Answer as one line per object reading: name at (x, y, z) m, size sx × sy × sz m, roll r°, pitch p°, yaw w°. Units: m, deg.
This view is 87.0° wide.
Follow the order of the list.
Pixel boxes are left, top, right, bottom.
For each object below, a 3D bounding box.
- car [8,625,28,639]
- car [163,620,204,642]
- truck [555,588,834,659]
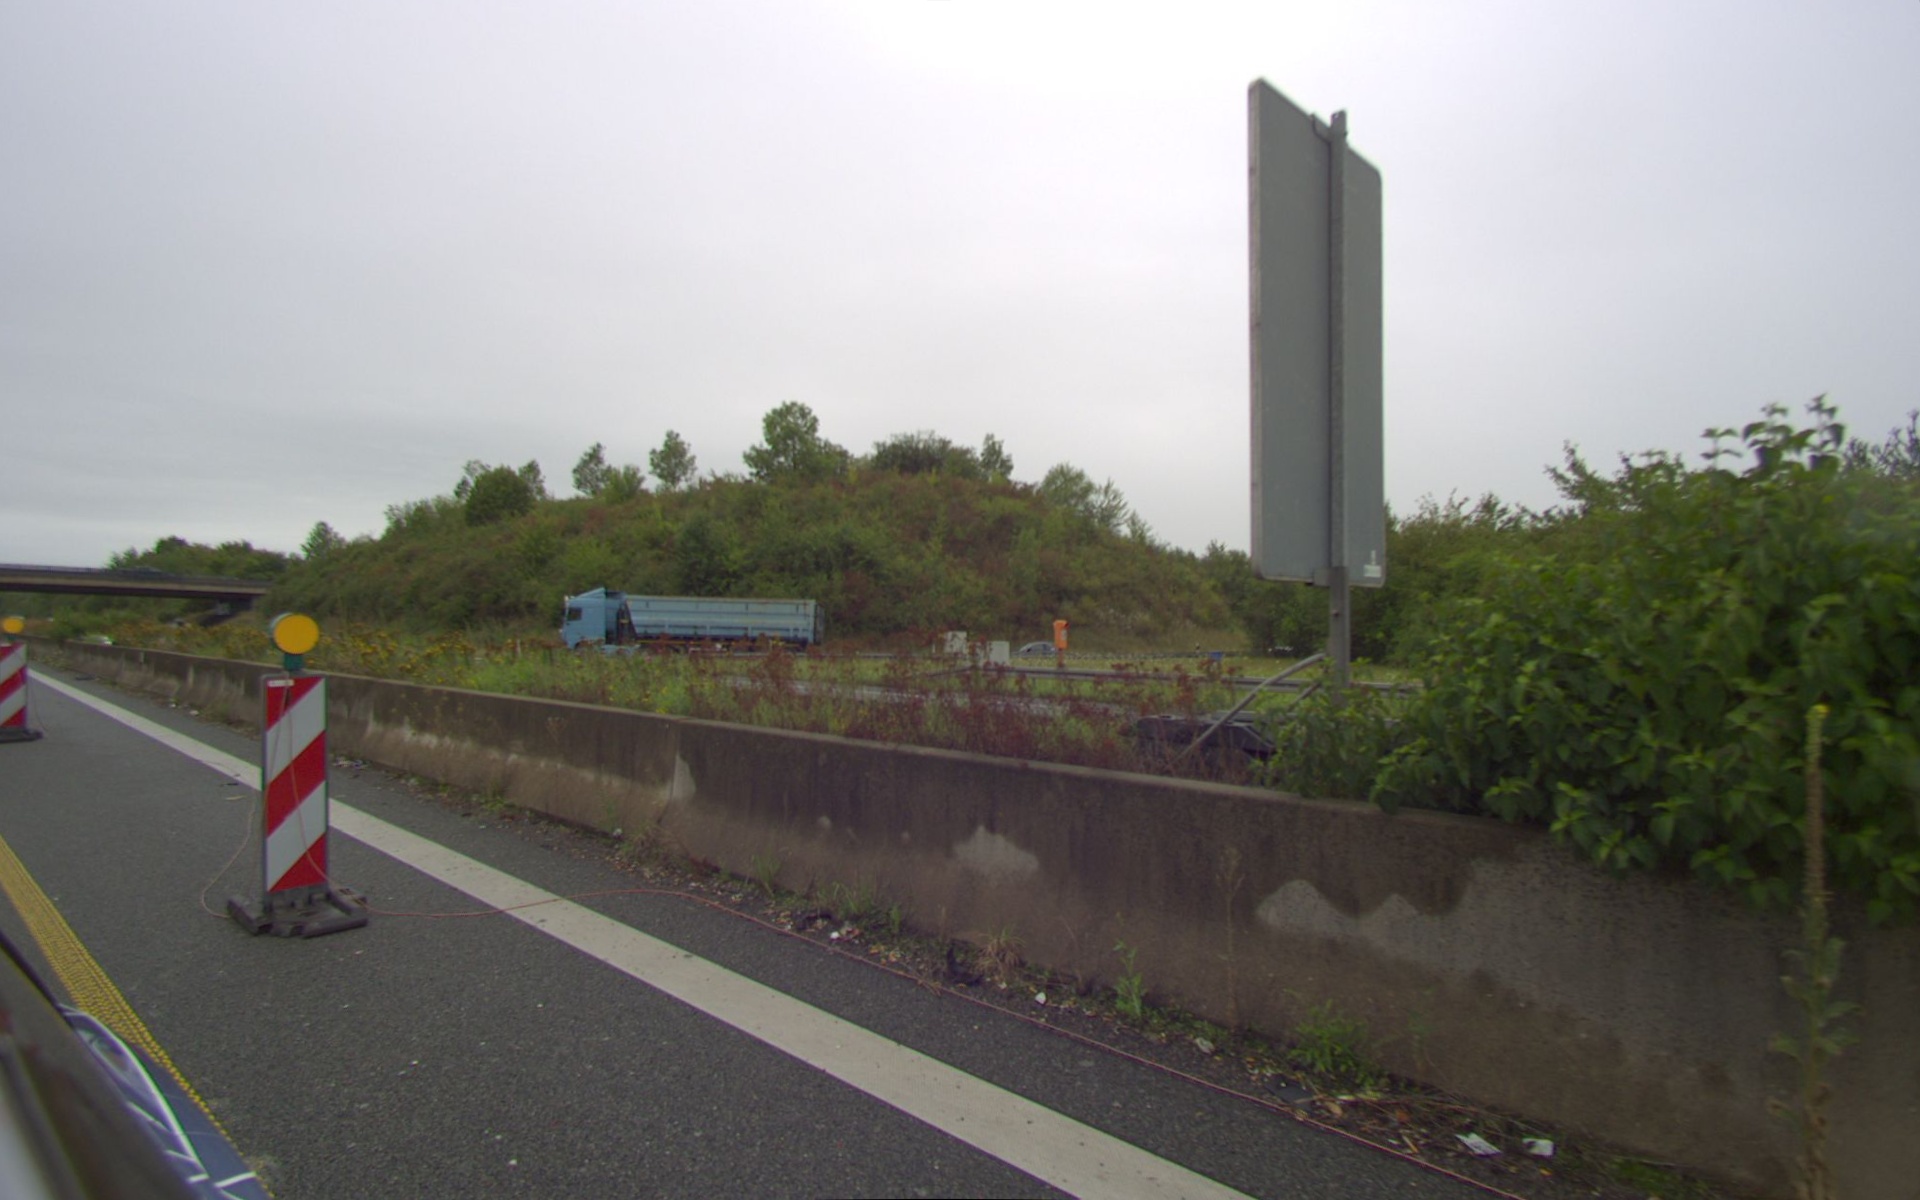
car at (-169.972, 5.731, 182.628) m, size 5.884 × 2.459 × 2.215 m, roll -2°, pitch -3°, yaw 44°
car at (-67.464, 2.692, 87.935) m, size 4.227 × 1.803 × 1.973 m, roll -2°, pitch -3°, yaw 41°
truck at (-14.175, 1.282, 54.713) m, size 14.384 × 3.647 × 2.899 m, roll 0°, pitch -2°, yaw 2°
